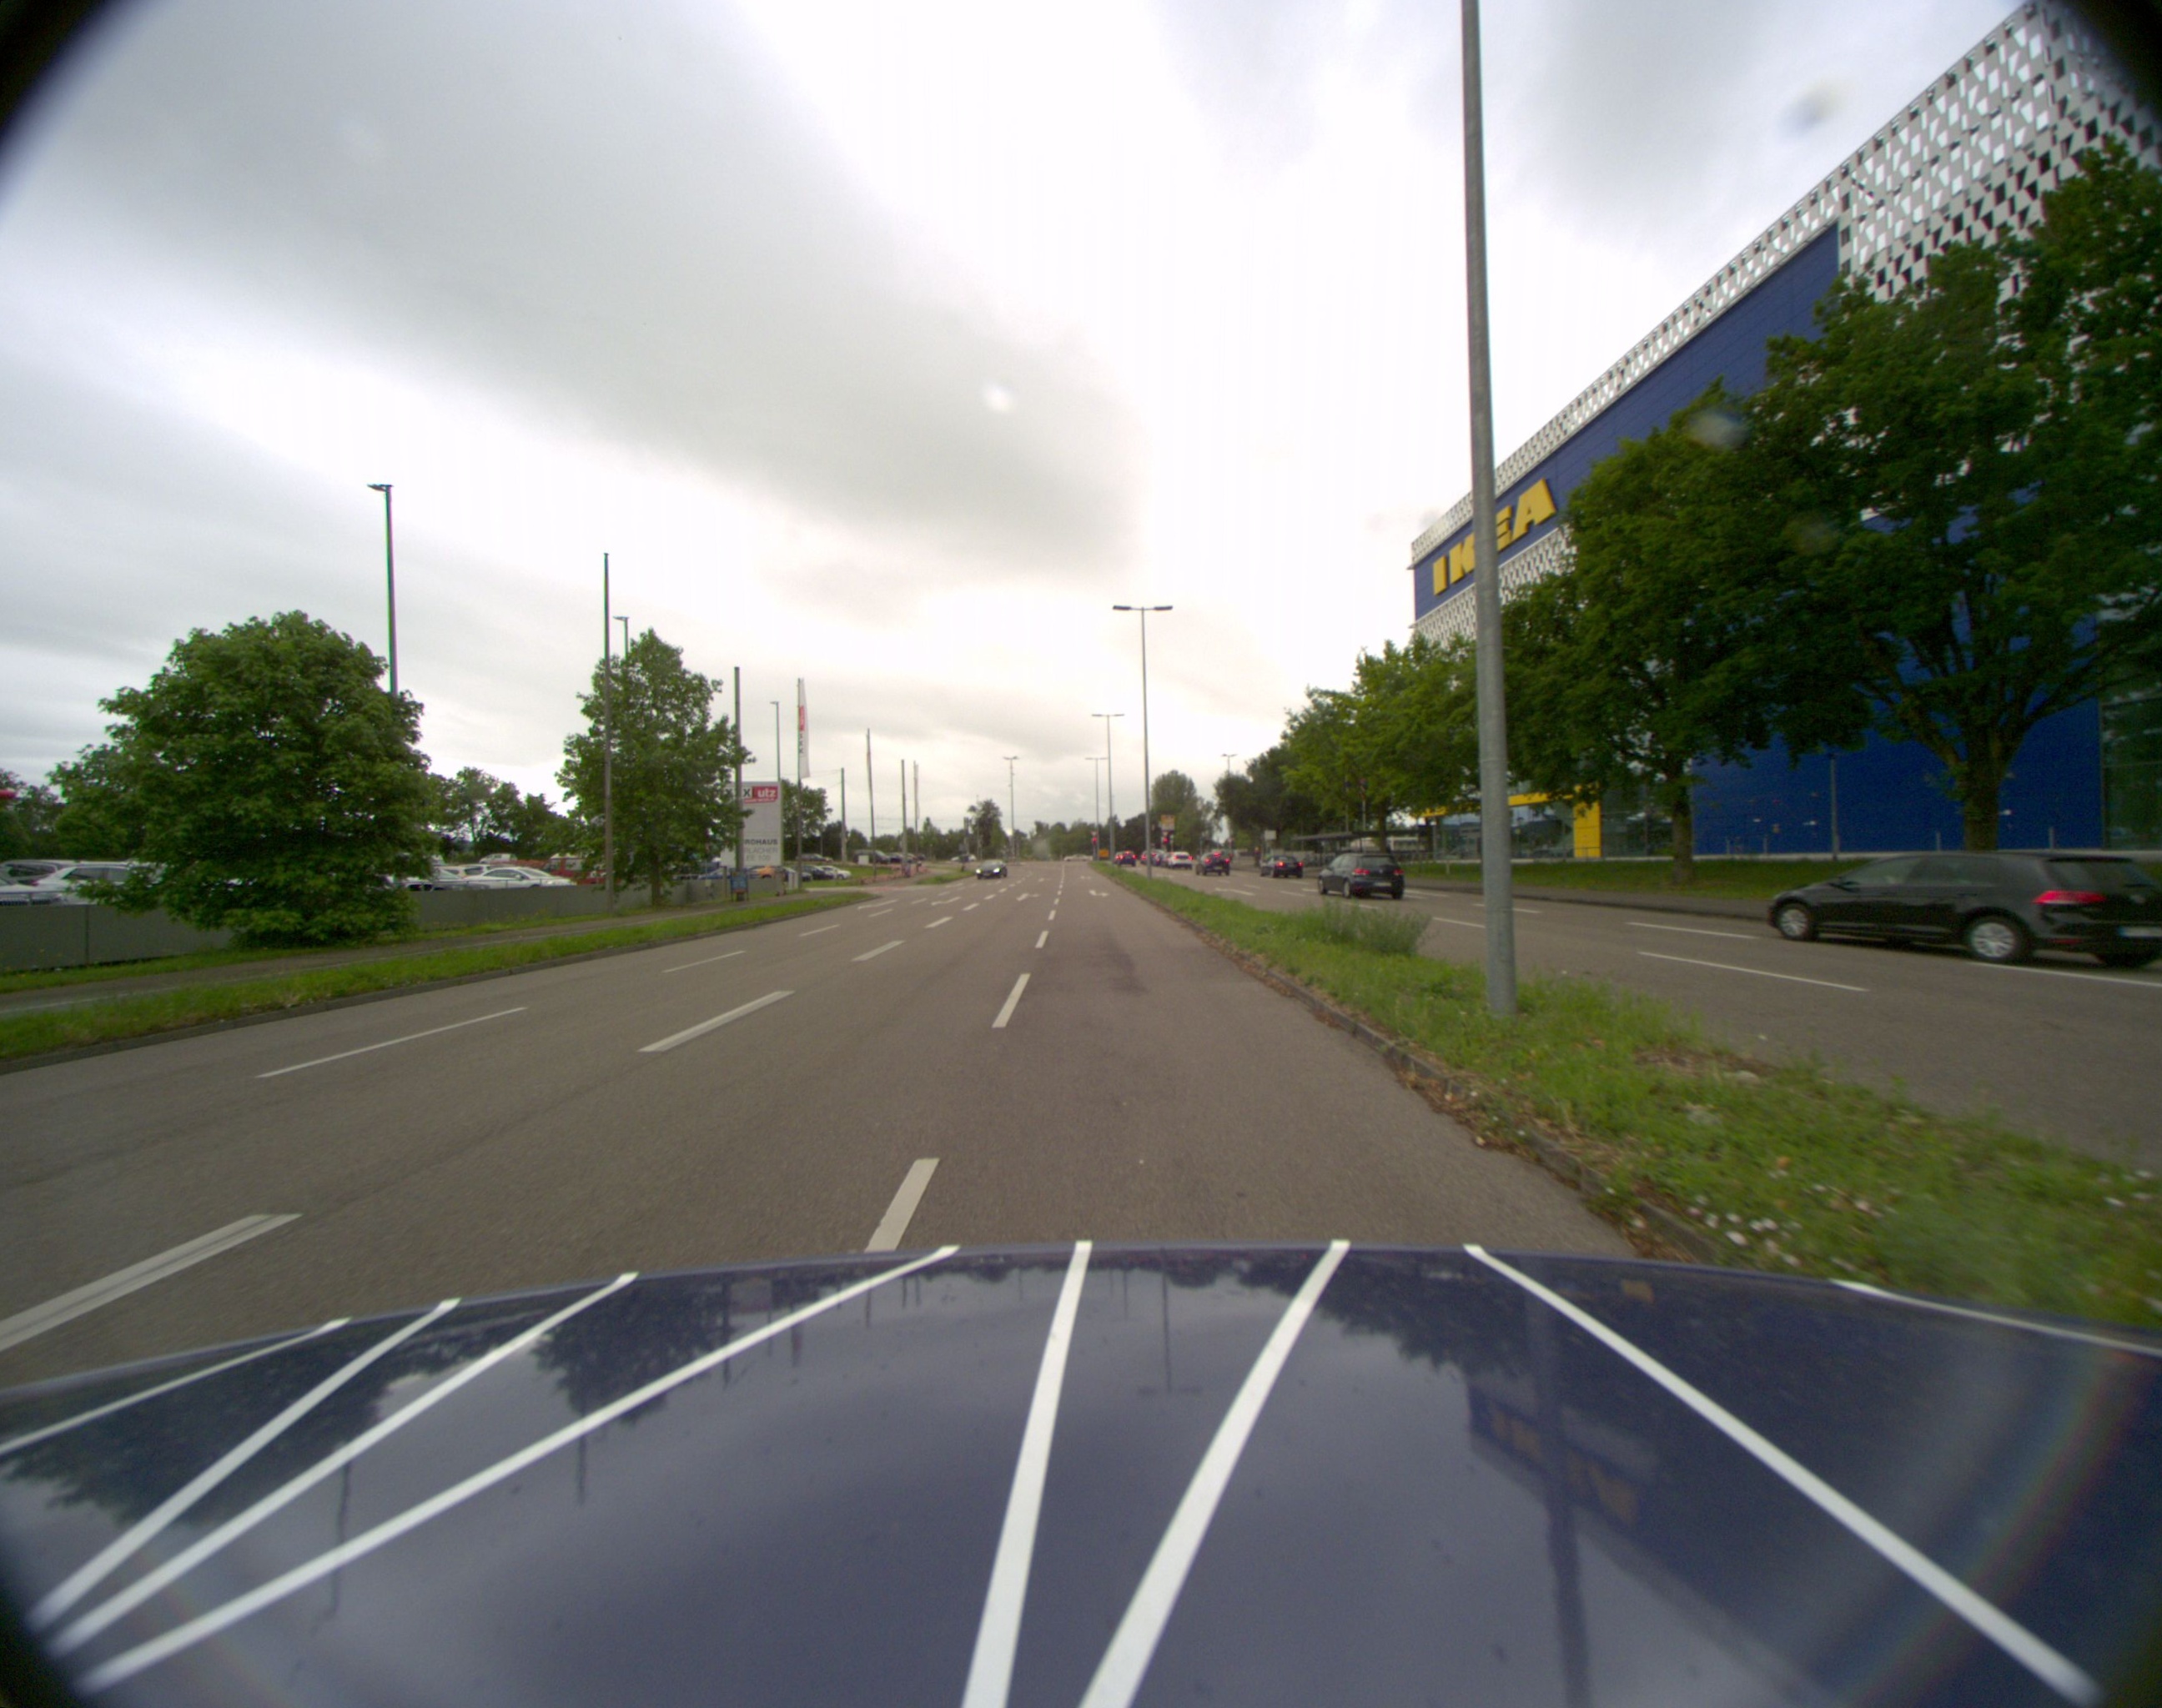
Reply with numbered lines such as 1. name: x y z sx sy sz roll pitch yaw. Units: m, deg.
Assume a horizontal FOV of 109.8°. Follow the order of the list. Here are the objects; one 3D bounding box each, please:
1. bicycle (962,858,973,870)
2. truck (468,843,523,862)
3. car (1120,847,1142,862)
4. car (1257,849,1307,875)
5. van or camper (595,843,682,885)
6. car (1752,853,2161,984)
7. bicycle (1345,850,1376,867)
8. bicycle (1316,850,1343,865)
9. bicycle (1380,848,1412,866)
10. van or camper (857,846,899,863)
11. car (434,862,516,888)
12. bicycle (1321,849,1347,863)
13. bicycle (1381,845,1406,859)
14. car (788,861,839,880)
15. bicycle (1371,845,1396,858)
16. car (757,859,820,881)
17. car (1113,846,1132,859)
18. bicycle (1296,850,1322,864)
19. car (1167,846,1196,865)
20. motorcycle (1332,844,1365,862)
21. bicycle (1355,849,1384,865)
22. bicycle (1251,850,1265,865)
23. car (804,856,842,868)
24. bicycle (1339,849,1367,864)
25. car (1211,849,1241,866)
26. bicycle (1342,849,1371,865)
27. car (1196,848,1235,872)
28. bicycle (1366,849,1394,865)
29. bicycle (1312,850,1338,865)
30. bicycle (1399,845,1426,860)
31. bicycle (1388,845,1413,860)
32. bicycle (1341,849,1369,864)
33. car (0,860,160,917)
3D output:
1. bicycle: -10.704 0.935 71.737 0.664 1.042 1.692 -1 1 6
2. truck: -95.199 -0.236 123.723 6.544 2.905 2.827 0 -1 -8
3. car: 5.185 0.027 79.739 1.936 1.477 4.437 0 1 -2
4. car: 12.205 0.441 46.358 1.777 1.443 4.403 0 1 -2
5. van or camper: -33.069 0.750 56.899 5.391 2.966 1.991 -1 1 6
6. car: 12.310 0.742 10.739 1.936 1.447 4.182 1 0 0
7. bicycle: 20.664 0.312 56.225 2.019 1.150 0.594 -3 1 14
8. bicycle: 20.141 0.280 61.535 1.899 1.150 0.593 -3 1 0
9. bicycle: 22.506 0.203 54.300 2.020 1.116 0.593 -3 1 2
10. van or camper: -26.147 0.025 97.862 4.743 2.003 2.125 1 3 15
11. car: -39.345 1.360 49.378 3.904 1.571 1.693 -2 0 -1
12. bicycle: 21.937 0.182 65.941 2.018 1.150 0.594 -3 1 16
13. bicycle: 28.220 -0.180 68.568 2.021 1.150 0.593 -3 1 -2
14. car: -24.542 1.514 69.791 4.104 1.574 1.769 -1 -1 -4
15. bicycle: 28.240 -0.226 70.951 2.021 1.150 0.593 -3 1 -2
16. car: -23.986 1.313 62.409 4.542 1.574 1.767 -2 2 -14
17. car: 4.942 -0.211 91.370 1.888 1.428 4.430 0 1 -3
18. bicycle: 19.835 0.269 66.125 2.021 1.150 0.593 -2 1 -1
19. car: 8.864 0.106 67.401 1.936 1.510 4.180 -2 1 -1
20. motorcycle: 22.328 -0.082 63.414 2.501 1.347 0.799 -3 1 -13
21. bicycle: 22.445 0.209 59.128 2.021 1.150 0.593 -3 1 0
22. bicycle: 15.423 0.275 66.118 0.644 1.243 2.056 -3 0 -1
23. car: -33.739 1.026 99.409 4.317 1.455 1.969 0 0 5
24. bicycle: 22.213 0.206 62.163 2.021 1.150 0.593 -3 1 0
25. car: 12.954 0.269 68.178 1.871 1.446 4.167 0 1 0
26. bicycle: 21.863 0.228 60.227 2.021 1.150 0.593 -3 1 0
27. car: 8.790 0.345 49.939 1.762 1.445 3.998 -1 1 -1
28. bicycle: 22.200 0.245 56.483 1.814 1.076 0.593 -3 1 0
29. bicycle: 20.097 0.286 62.615 1.899 1.150 0.593 -3 1 0
30. bicycle: 28.328 -0.157 64.943 2.022 1.150 0.593 -3 1 -7
31. bicycle: 28.182 -0.140 67.073 2.023 1.150 0.593 -3 1 -14
32. bicycle: 22.151 0.192 61.453 2.021 1.150 0.593 -3 1 0
33. car: -33.434 1.141 24.912 4.322 1.733 1.889 -2 -1 2
